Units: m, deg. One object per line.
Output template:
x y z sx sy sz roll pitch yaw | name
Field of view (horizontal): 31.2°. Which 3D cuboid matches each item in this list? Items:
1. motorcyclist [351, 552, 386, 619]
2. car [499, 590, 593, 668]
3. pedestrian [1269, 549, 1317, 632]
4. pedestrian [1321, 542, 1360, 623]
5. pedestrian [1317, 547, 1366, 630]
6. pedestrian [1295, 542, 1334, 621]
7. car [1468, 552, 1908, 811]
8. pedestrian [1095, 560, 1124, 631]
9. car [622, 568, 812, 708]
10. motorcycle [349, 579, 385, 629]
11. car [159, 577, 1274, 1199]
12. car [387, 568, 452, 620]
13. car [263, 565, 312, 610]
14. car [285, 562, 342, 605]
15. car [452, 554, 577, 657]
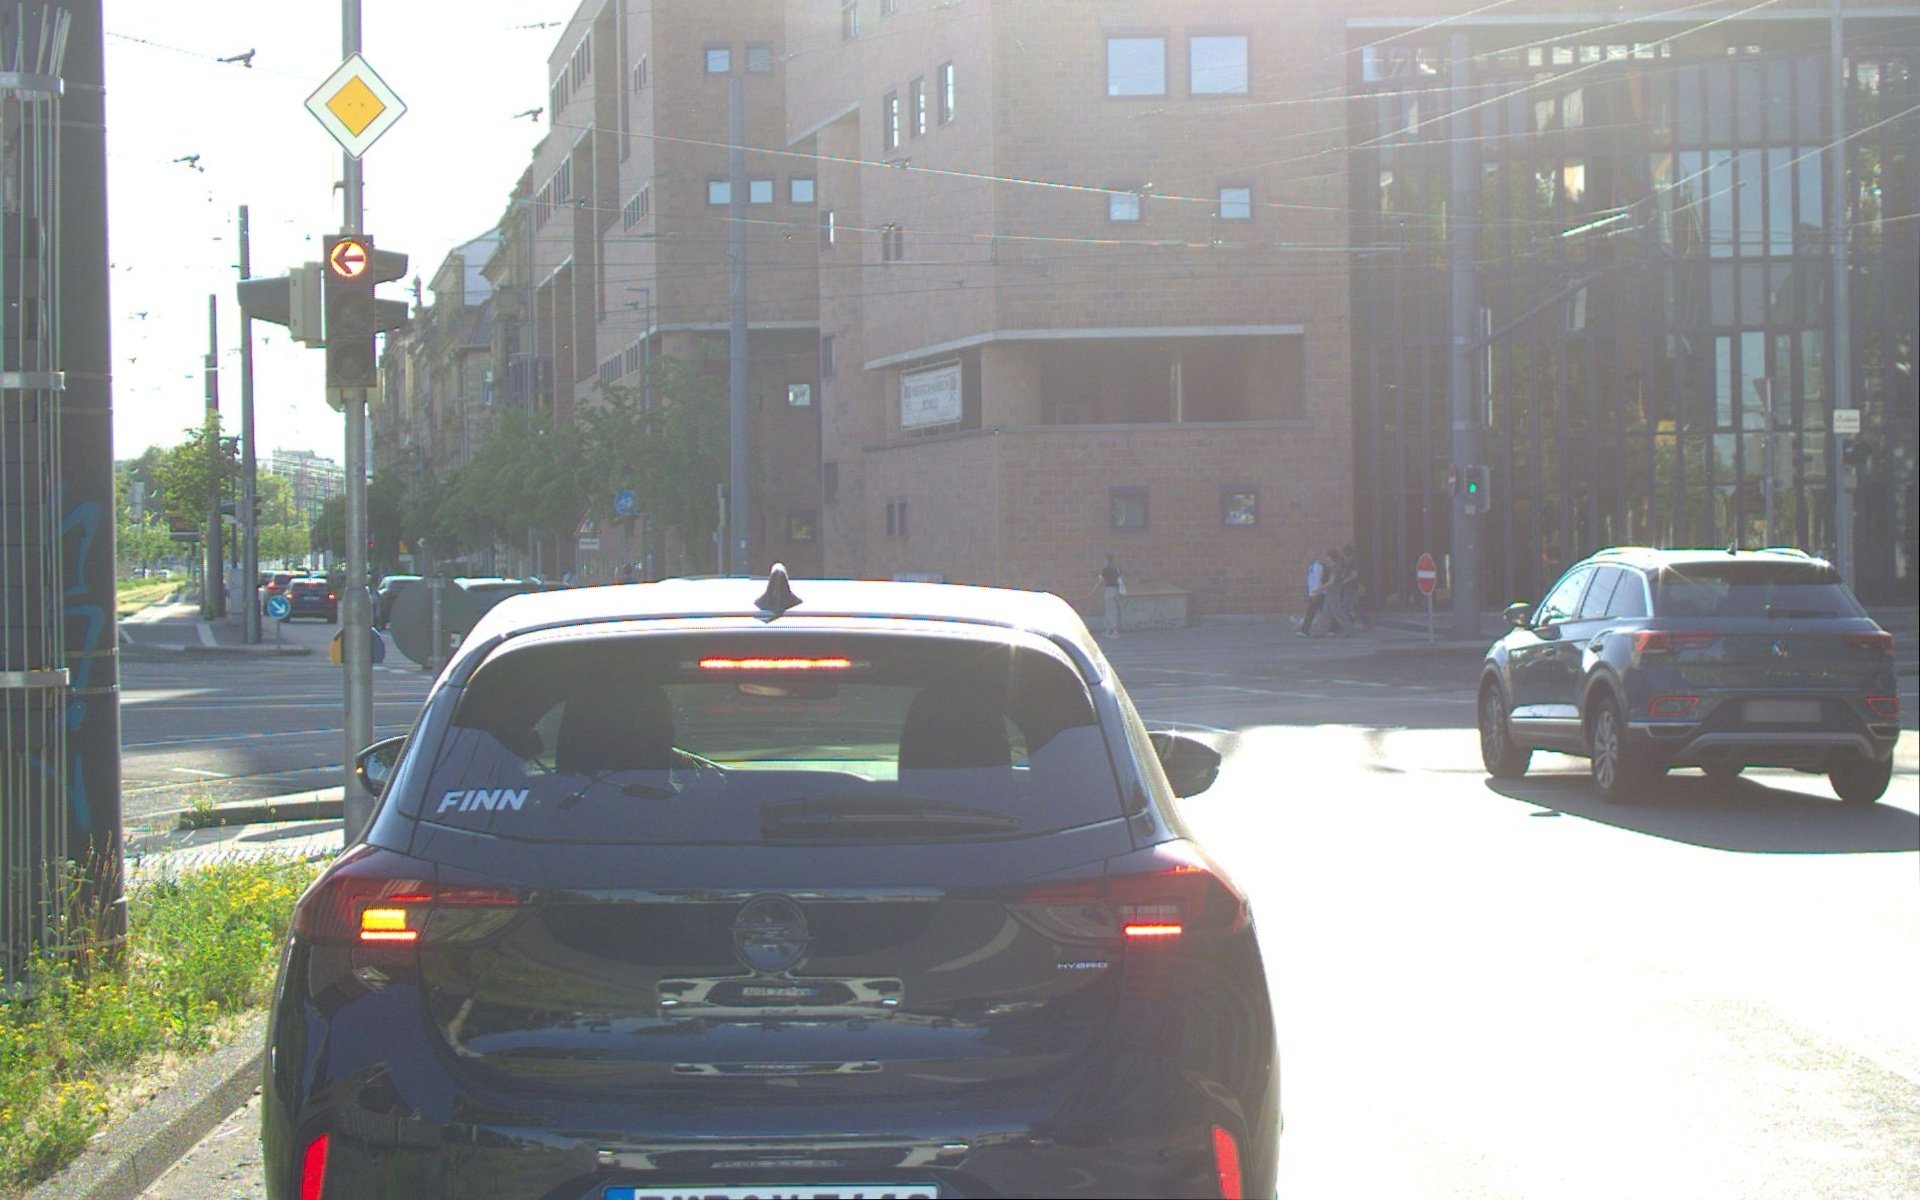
-13.713 -0.347 79.673 0.744 1.525 1.021 -1 1 -8 | motorcyclist
-8.299 0.563 68.942 1.807 1.452 4.001 0 1 -7 | car
6.585 -0.186 67.909 0.900 1.611 0.560 -1 1 8 | pedestrian
7.637 -0.360 68.933 0.738 1.611 0.560 -1 1 8 | pedestrian
7.488 -0.231 67.474 0.900 1.611 0.560 -1 1 8 | pedestrian
7.245 -0.381 70.264 0.738 1.611 0.560 -1 1 8 | pedestrian
4.604 0.453 22.304 1.744 1.499 3.881 -1 1 -4 | car
3.045 -0.091 69.936 0.529 1.425 0.598 -1 1 -1 | pedestrian
-2.767 0.382 38.429 1.685 1.428 4.154 -1 1 -10 | car
-13.708 0.075 79.536 0.775 1.111 1.970 -1 1 -9 | motorcycle
-0.337 0.690 7.114 1.649 1.428 4.000 -1 1 1 | car
-15.684 -0.193 99.825 1.807 1.452 4.001 0 1 -9 | car
-25.280 -0.484 129.173 1.737 1.645 4.001 -1 1 -12 | car
-21.166 -0.552 112.467 1.737 1.345 4.001 -1 1 -12 | car
-6.885 0.055 53.153 1.811 1.487 4.497 1 1 -7 | car
